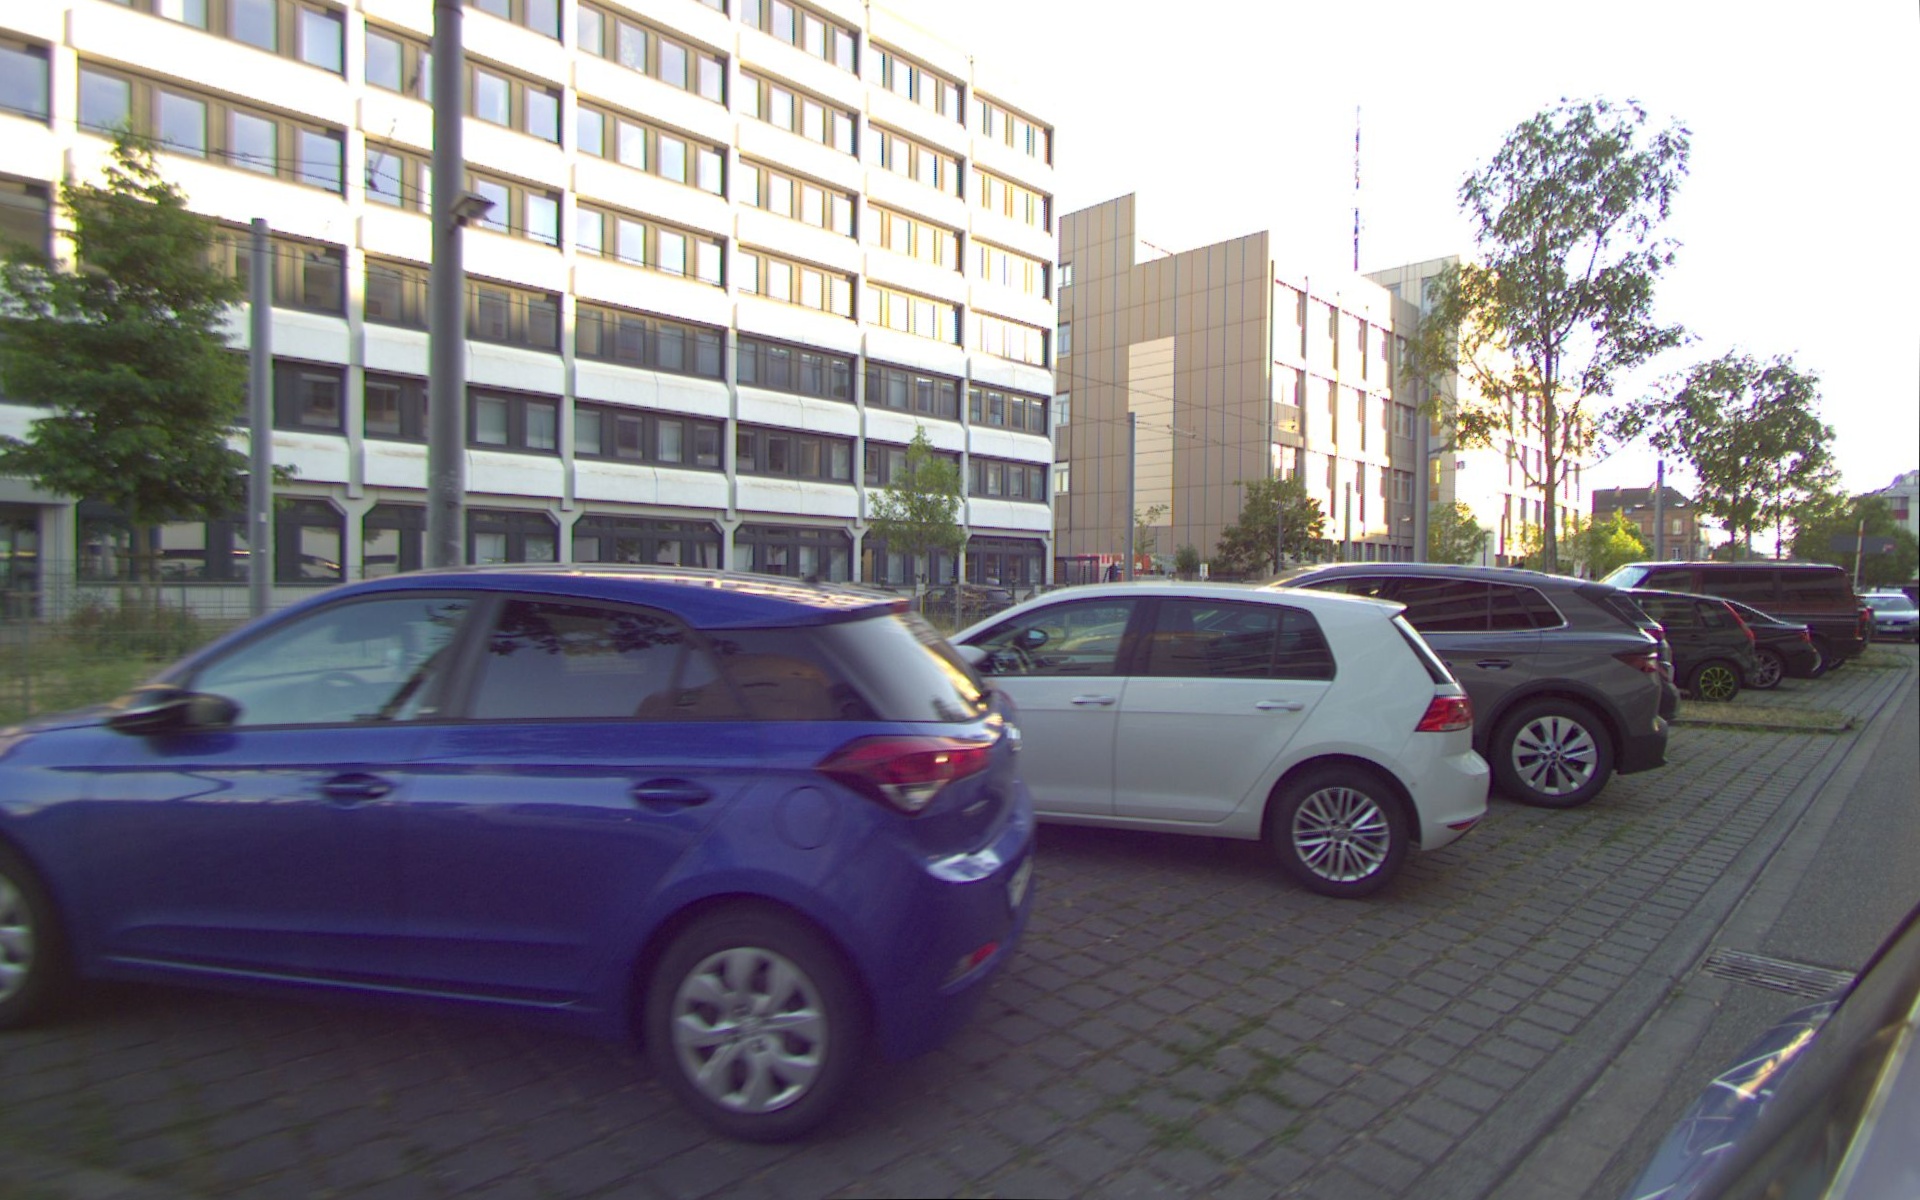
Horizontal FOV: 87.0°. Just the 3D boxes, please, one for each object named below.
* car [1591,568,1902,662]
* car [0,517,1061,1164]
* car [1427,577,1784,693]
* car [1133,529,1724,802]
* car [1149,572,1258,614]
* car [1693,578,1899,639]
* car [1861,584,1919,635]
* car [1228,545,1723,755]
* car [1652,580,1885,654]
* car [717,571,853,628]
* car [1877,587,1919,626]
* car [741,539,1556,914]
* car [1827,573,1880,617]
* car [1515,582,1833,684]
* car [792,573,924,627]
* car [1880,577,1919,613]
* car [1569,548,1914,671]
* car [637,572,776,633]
[{"bbox_3d":[15.681,0.298,20.460,4.533,1.771,1.864,0,-1,13],"label":"car"},{"bbox_3d":[-1.566,0.578,3.608,3.696,1.528,1.682,0,-1,12],"label":"car"},{"bbox_3d":[8.697,0.457,13.971,3.718,1.461,1.758,0,-1,11],"label":"car"},{"bbox_3d":[3.272,0.434,7.793,3.722,1.748,1.756,0,-1,14],"label":"car"},{"bbox_3d":[10.001,-0.308,41.793,3.990,1.532,1.795,4,3,45],"label":"car"},{"bbox_3d":[23.345,0.199,28.422,3.937,1.539,1.922,1,2,11],"label":"car"},{"bbox_3d":[29.025,0.265,31.265,1.729,1.484,3.940,-1,0,42],"label":"car"},{"bbox_3d":[4.772,0.353,10.032,3.935,1.660,1.962,3,3,19],"label":"car"},{"bbox_3d":[19.151,0.403,24.152,3.935,1.615,1.732,-1,0,10],"label":"car"},{"bbox_3d":[-4.727,0.026,27.017,3.987,1.416,1.566,-2,-1,45],"label":"car"},{"bbox_3d":[37.494,0.239,40.092,1.675,1.470,4.123,1,1,43],"label":"car"},{"bbox_3d":[0.948,0.492,5.872,3.879,1.528,1.947,3,2,17],"label":"car"},{"bbox_3d":[48.525,-0.287,54.919,1.805,2.203,4.659,4,3,45],"label":"car"},{"bbox_3d":[11.077,0.498,15.960,3.718,1.484,1.633,0,-1,11],"label":"car"},{"bbox_3d":[-2.941,0.037,28.727,3.987,1.416,1.566,-2,-1,45],"label":"car"},{"bbox_3d":[74.445,-0.402,80.159,2.052,2.689,5.348,6,4,44],"label":"car"},{"bbox_3d":[13.937,0.173,18.361,4.533,2.061,1.864,0,-1,13],"label":"car"},{"bbox_3d":[-6.431,0.089,25.443,3.987,1.416,1.566,-2,-1,45],"label":"car"}]
